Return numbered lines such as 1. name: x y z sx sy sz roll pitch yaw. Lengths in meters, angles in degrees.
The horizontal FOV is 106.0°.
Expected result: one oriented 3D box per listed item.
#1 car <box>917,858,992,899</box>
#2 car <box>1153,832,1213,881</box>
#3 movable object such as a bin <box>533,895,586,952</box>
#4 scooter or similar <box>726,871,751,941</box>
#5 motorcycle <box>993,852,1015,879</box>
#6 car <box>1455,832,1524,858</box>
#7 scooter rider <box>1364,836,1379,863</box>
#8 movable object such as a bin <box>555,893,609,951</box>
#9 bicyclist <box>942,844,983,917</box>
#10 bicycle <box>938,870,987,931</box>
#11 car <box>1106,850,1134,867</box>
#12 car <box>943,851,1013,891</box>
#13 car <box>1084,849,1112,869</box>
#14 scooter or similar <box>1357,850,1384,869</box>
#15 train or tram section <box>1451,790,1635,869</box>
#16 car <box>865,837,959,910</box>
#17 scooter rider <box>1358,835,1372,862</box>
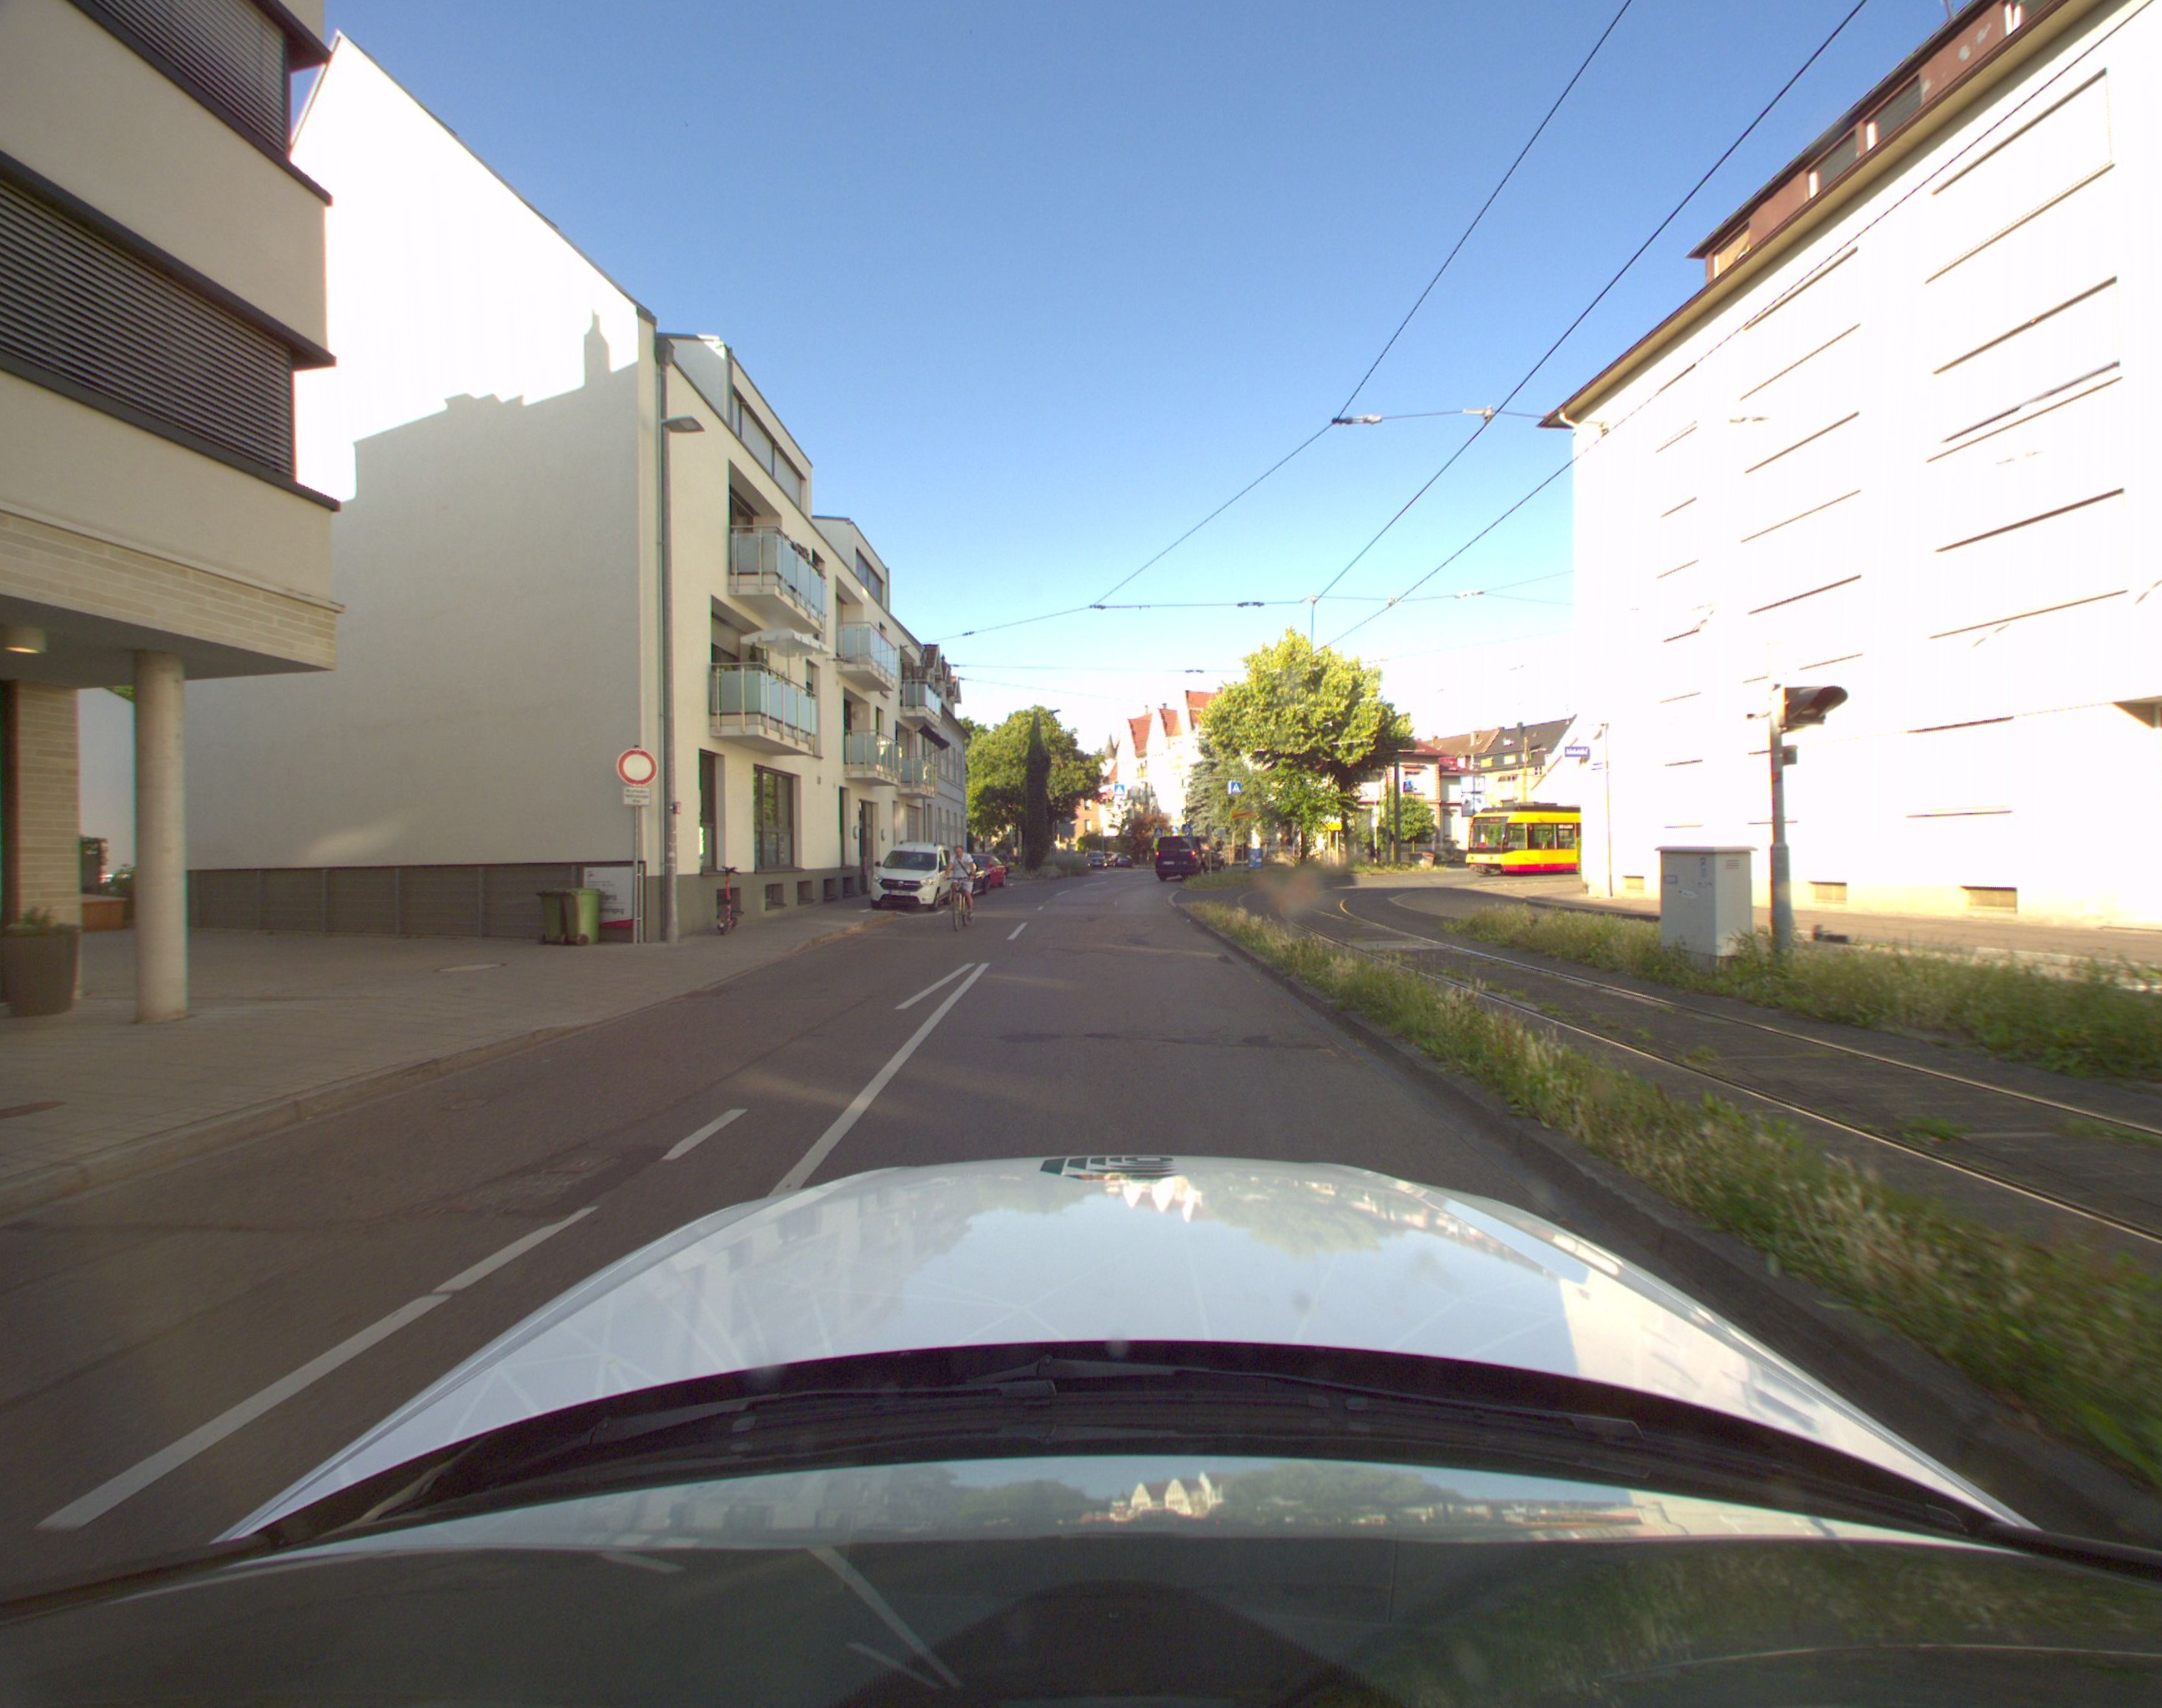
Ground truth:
1. car: -4.224 0.793 27.717 1.657 1.273 4.030 0 0 4
2. car: 4.634 0.069 36.407 1.978 2.013 4.018 -1 1 17
3. movable object such as a bin: -8.708 1.151 13.605 0.543 0.901 0.533 -1 0 24
4. scooter or similar: -6.435 0.949 15.309 0.225 1.219 1.150 -1 1 -13
5. motorcycle: -4.067 0.603 43.039 0.931 1.357 2.556 -1 0 -10
6. car: 27.595 -0.596 55.054 3.673 1.505 1.959 -3 0 -10
7. scooter rider: 18.153 -0.269 50.889 0.600 1.672 0.659 -2 0 37
8. movable object such as a bin: -8.193 1.105 13.376 0.543 0.901 0.533 -1 0 24
9. bicyclist: -2.360 0.515 16.255 0.620 1.380 0.801 -3 0 1
10. bicycle: -2.342 0.896 16.254 0.620 1.081 1.784 -3 0 2
11. car: 3.804 0.449 80.101 1.993 1.596 3.987 -1 0 -9
12. car: -4.187 0.653 33.792 1.699 1.466 4.603 0 1 8
13. car: 1.339 0.373 65.443 1.710 1.403 3.731 -1 3 -6
14. scooter or similar: 18.101 0.366 50.977 1.388 1.136 0.690 -2 1 38
15. train or tram section: 22.727 -1.259 39.827 9.942 3.555 2.760 -2 0 -27
16. car: -4.621 0.495 22.847 1.806 1.869 4.330 0 0 -2
17. scooter rider: 17.804 -0.343 51.115 0.600 1.672 0.659 -2 0 37
